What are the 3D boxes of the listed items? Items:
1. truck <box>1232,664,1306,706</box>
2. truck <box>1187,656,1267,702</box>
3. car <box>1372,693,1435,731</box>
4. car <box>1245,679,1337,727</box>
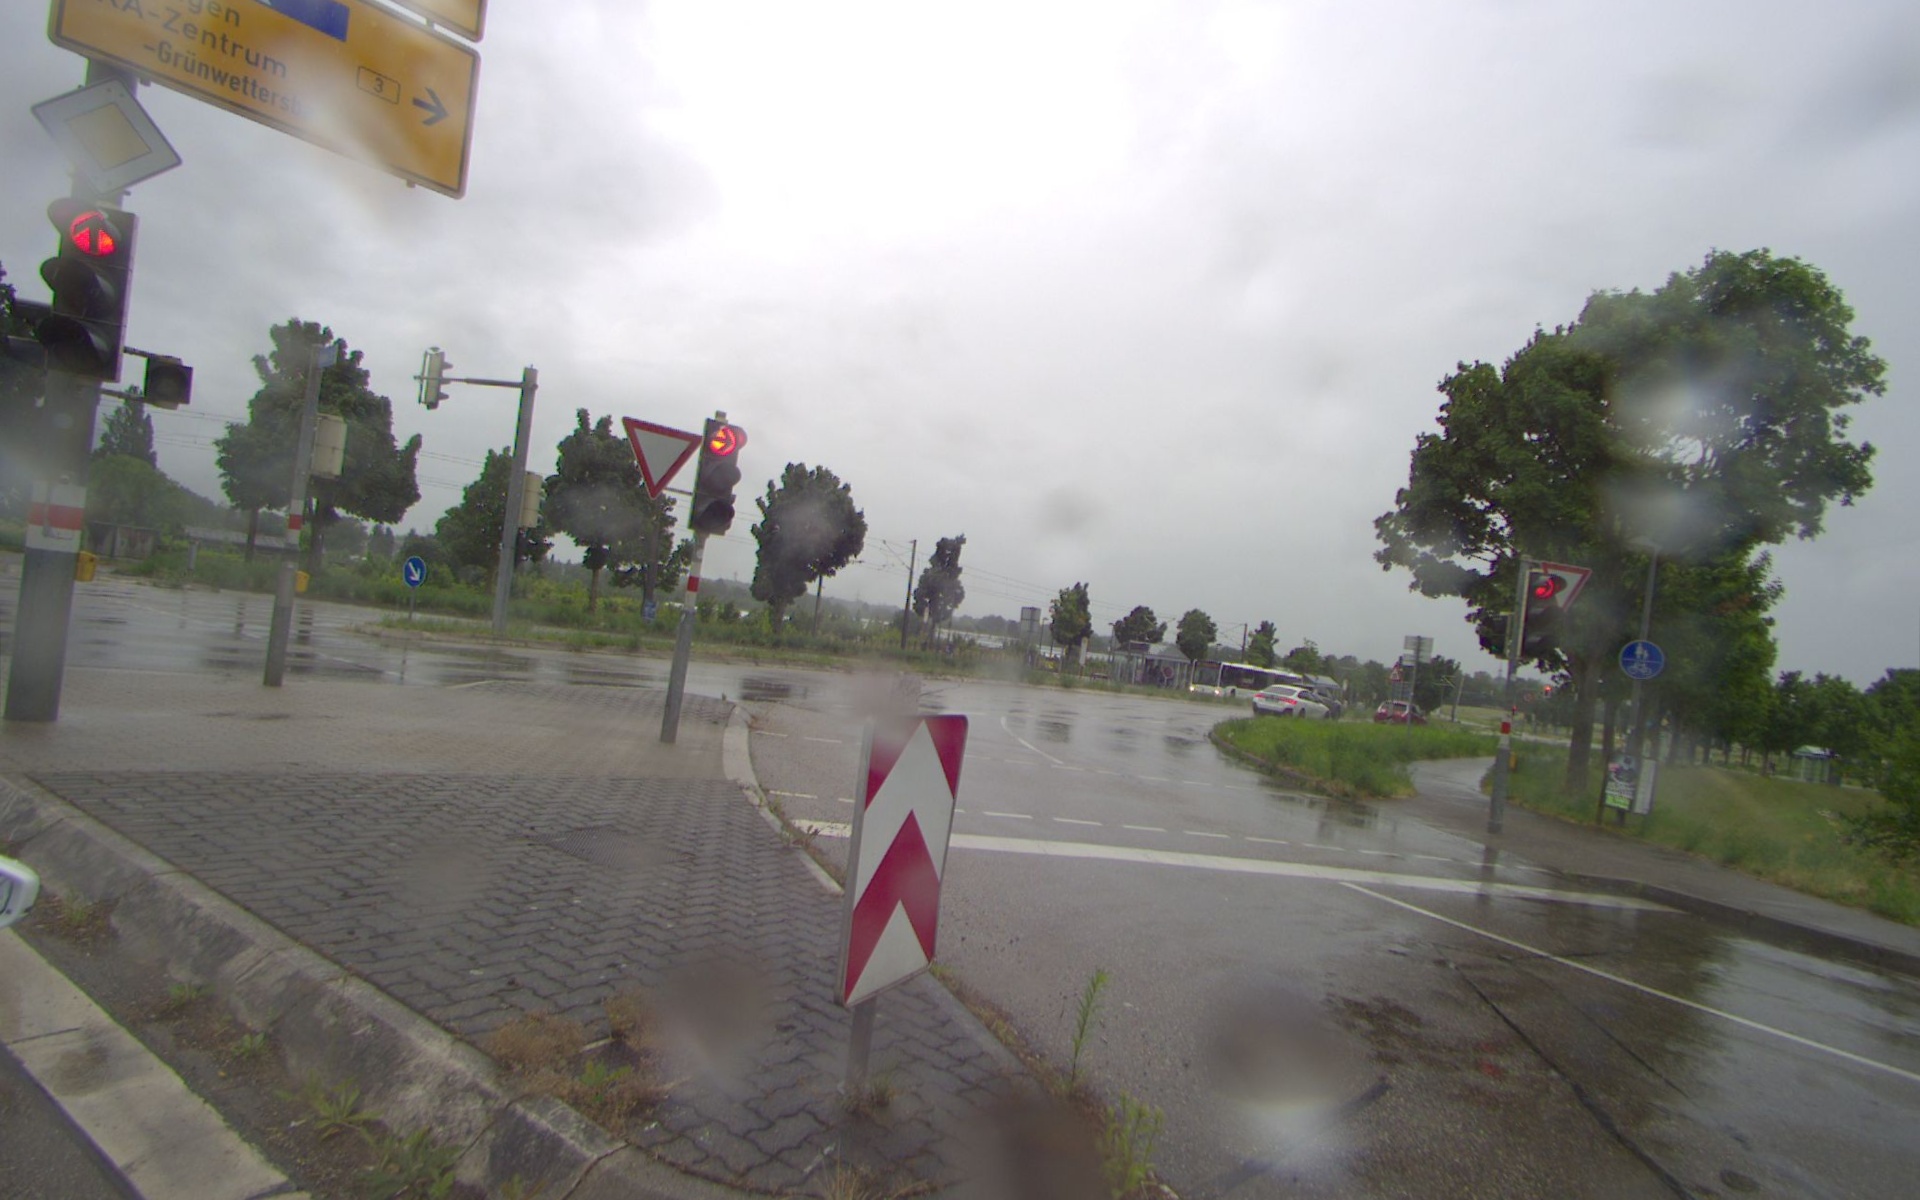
[{"bbox_3d":[26.995,7.461,87.571,2.617,2.804,9.323,7,-2,39],"label":"truck"},{"bbox_3d":[21.435,6.388,80.483,2.617,2.864,8.820,7,-2,39],"label":"truck"},{"bbox_3d":[22.923,5.798,51.915,1.708,1.598,4.374,7,-2,40],"label":"car"},{"bbox_3d":[13.344,4.147,40.348,1.773,1.572,4.880,7,-1,39],"label":"car"}]
